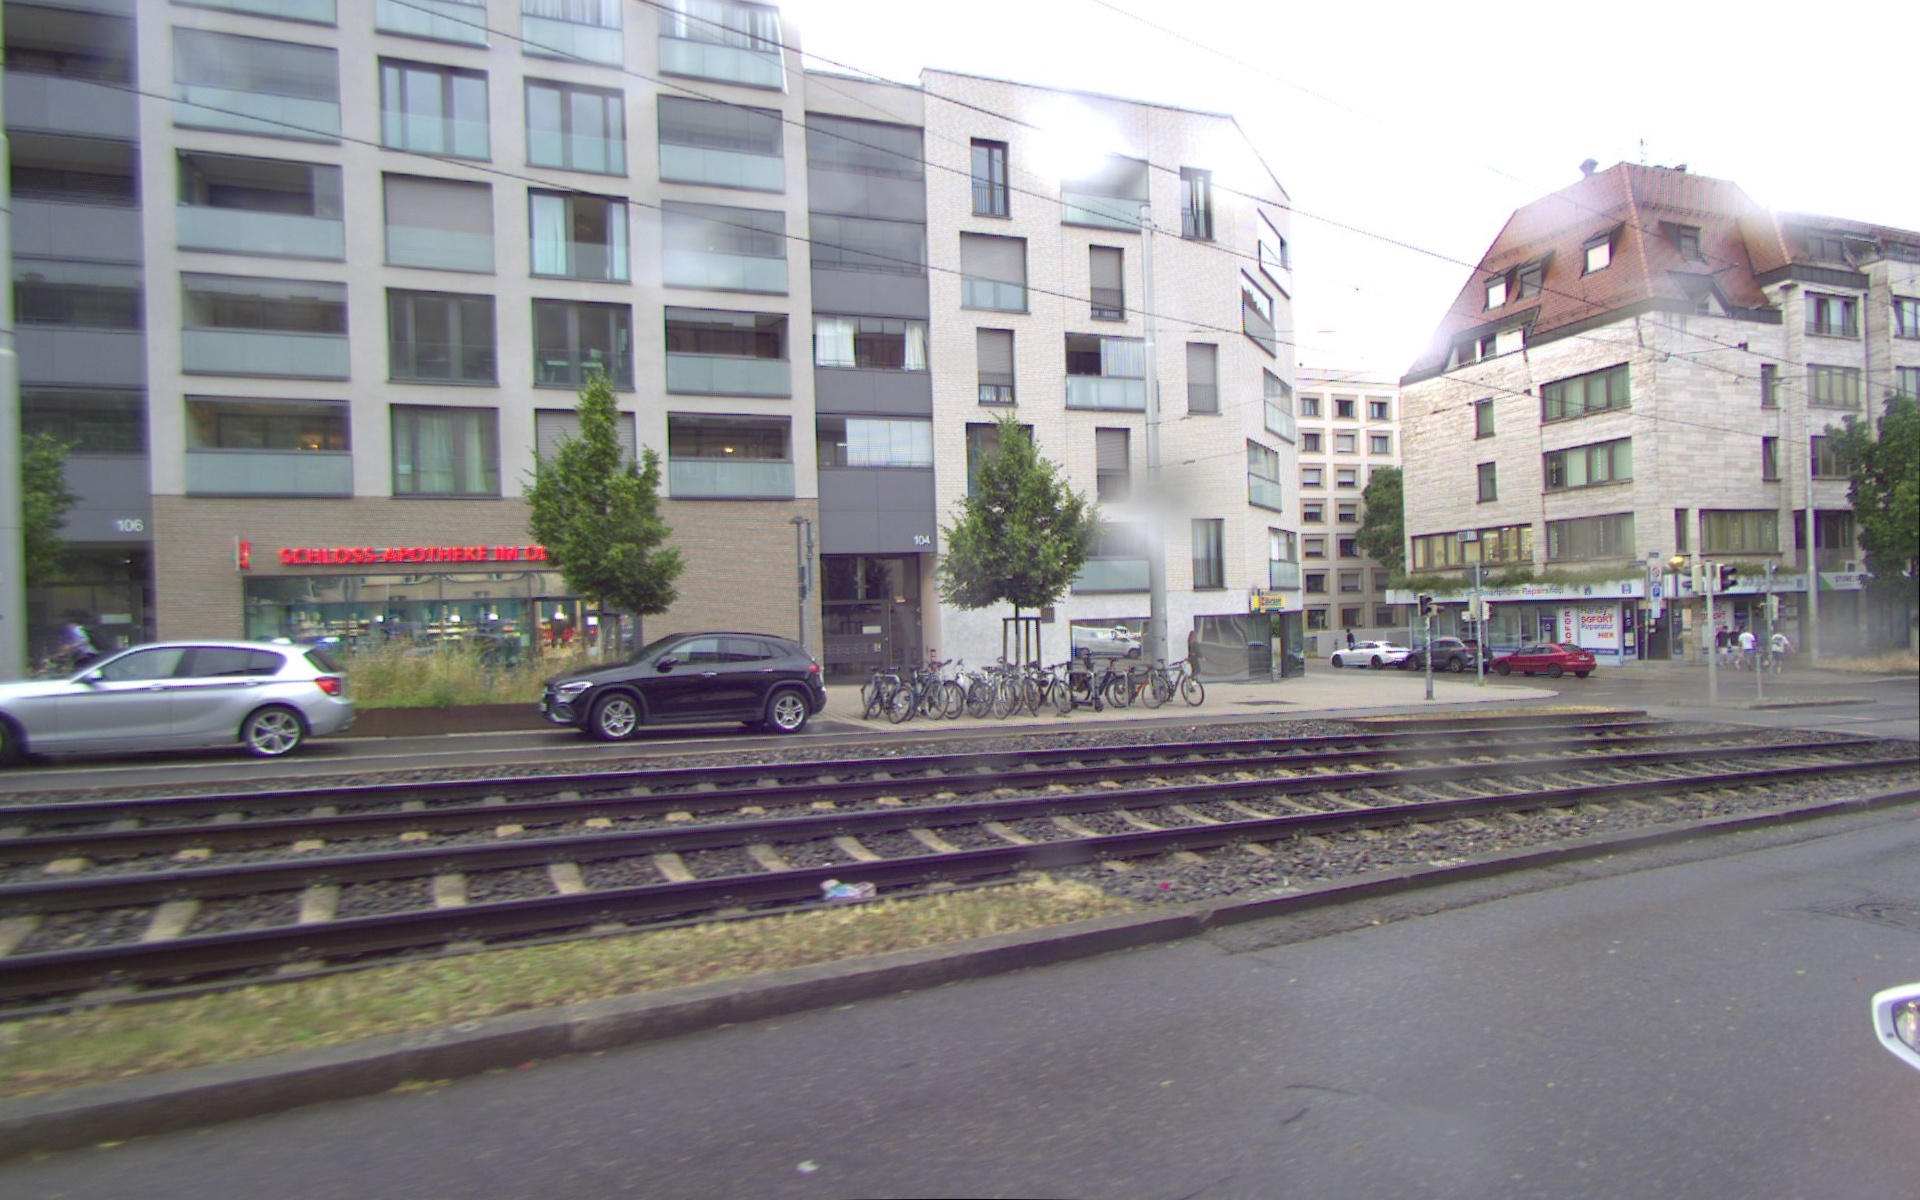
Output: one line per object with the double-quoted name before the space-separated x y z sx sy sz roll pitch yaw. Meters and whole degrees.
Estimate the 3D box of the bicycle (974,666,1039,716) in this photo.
"bicycle" 0.948 1.881 20.902 0.383 0.930 1.773 2 -2 -33

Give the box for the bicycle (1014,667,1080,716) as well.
"bicycle" 1.835 1.941 21.476 0.383 0.930 1.773 2 -2 -33

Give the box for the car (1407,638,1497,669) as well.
"car" 22.681 2.460 46.454 1.570 1.335 3.689 2 -2 -20

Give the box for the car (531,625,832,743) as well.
"car" -4.345 1.259 15.892 4.280 1.625 1.671 2 -1 -31

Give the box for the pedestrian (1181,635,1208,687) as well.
"pedestrian" 7.415 1.915 31.757 0.637 1.590 0.775 0 -1 33

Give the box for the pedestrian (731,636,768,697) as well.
"pedestrian" -5.227 1.641 24.944 0.790 1.468 0.539 2 0 -18

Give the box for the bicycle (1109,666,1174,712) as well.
"bicycle" 4.151 2.021 23.093 0.383 0.888 1.774 2 0 -31

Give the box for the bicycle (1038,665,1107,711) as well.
"bicycle" 2.470 1.936 22.200 0.384 0.930 1.770 2 -3 -38

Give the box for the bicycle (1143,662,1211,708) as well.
"bicycle" 5.135 2.000 23.869 0.436 0.993 1.773 2 -3 -33

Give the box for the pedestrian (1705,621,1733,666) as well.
"pedestrian" 31.771 1.824 42.063 0.674 1.867 0.646 2 0 -21

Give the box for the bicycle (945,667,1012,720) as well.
"bicycle" 0.348 1.853 20.137 0.383 0.930 1.773 2 -1 -33

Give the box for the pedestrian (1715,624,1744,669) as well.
"pedestrian" 31.316 1.878 40.862 0.674 1.772 0.646 2 0 -21

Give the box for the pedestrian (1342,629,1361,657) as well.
"pedestrian" 22.439 2.462 57.585 0.640 1.569 0.680 2 0 -21

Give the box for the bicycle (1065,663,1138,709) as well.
"bicycle" 3.257 1.978 23.268 1.764 0.930 0.385 0 -1 44

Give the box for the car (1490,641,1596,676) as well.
"car" 24.257 2.427 41.914 1.570 1.335 3.689 2 -2 -20

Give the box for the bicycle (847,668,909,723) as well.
"bicycle" -1.604 1.830 19.451 0.383 0.930 1.773 2 -2 -33

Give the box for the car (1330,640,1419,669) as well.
"car" 20.973 2.752 51.054 1.570 1.335 4.482 2 -2 -20

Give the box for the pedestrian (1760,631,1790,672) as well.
"pedestrian" 32.094 2.018 39.554 0.674 1.569 0.646 2 0 -21

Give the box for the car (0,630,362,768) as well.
"car" -9.928 1.150 12.433 4.280 1.484 1.671 2 -1 -31

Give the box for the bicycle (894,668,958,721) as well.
"bicycle" -0.691 1.838 19.797 0.383 0.930 1.773 2 -2 -33

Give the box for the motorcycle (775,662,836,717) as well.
"motorcycle" -3.207 1.831 20.750 0.537 1.056 1.749 4 -4 -33

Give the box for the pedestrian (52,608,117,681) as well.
"pedestrian" -18.222 0.914 20.917 0.790 1.468 0.656 2 0 -18

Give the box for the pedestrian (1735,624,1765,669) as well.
"pedestrian" 31.631 1.872 40.203 0.674 1.747 0.646 2 0 -21
